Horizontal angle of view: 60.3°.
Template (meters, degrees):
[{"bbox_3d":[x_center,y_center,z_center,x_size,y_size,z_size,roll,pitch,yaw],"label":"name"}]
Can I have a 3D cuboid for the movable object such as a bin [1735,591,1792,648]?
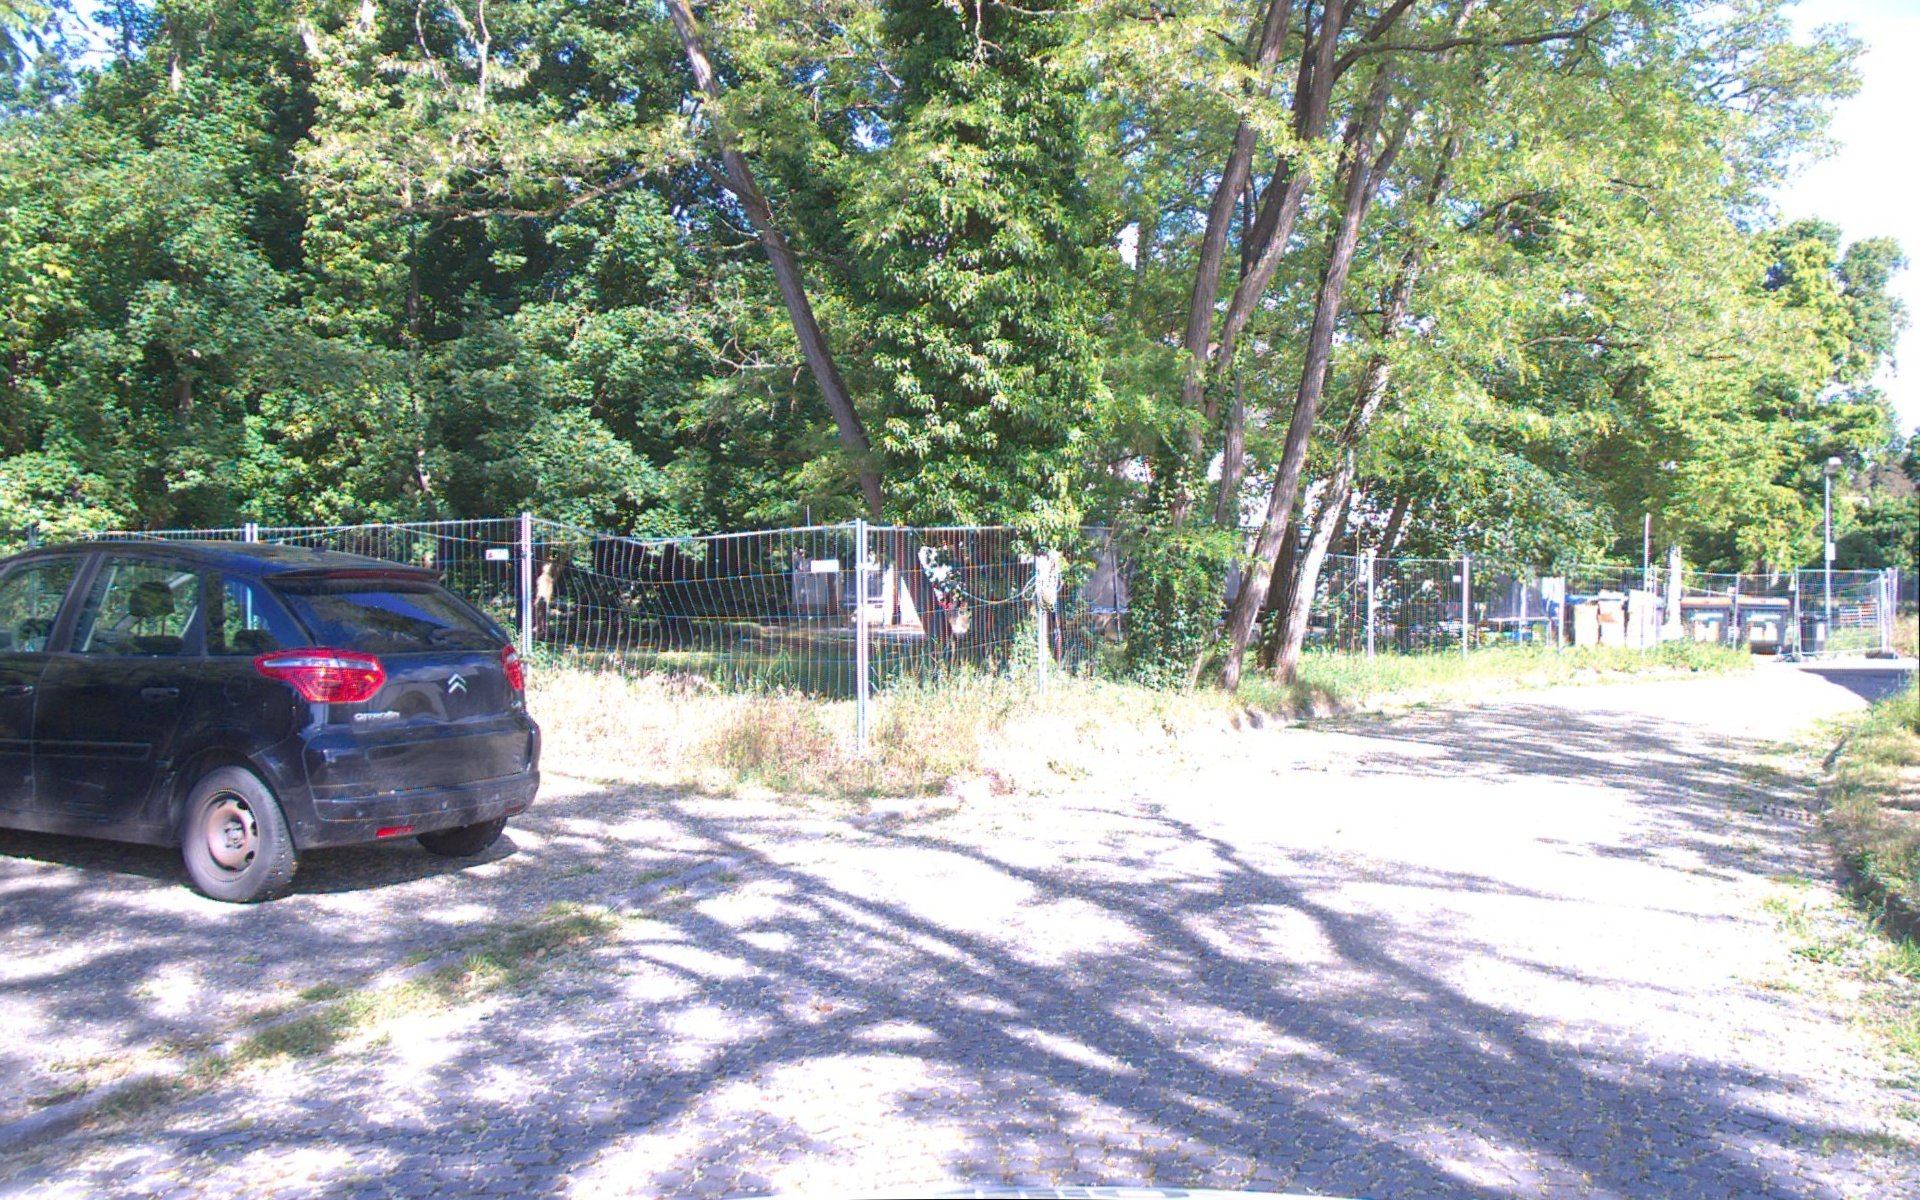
[{"bbox_3d":[20.677,0.498,42.576,1.261,1.451,1.032,0,0,23],"label":"movable object such as a bin"}]

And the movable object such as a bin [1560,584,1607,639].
[{"bbox_3d":[16.736,0.297,44.383,1.063,1.463,1.054,0,0,29],"label":"movable object such as a bin"}]

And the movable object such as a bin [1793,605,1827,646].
[{"bbox_3d":[21.556,0.640,41.934,0.632,1.025,0.601,0,0,43],"label":"movable object such as a bin"}]

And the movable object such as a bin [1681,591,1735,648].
[{"bbox_3d":[19.499,0.497,43.114,1.261,1.451,1.032,0,0,25],"label":"movable object such as a bin"}]

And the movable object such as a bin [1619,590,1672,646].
[{"bbox_3d":[18.166,0.468,43.810,1.261,1.451,1.032,0,0,25],"label":"movable object such as a bin"}]

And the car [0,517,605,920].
[{"bbox_3d":[-4.232,0.449,8.957,4.174,1.616,1.829,4,2,23],"label":"car"}]

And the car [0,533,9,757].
[{"bbox_3d":[-5.809,0.465,6.135,4.176,1.659,1.879,3,1,25],"label":"car"}]
